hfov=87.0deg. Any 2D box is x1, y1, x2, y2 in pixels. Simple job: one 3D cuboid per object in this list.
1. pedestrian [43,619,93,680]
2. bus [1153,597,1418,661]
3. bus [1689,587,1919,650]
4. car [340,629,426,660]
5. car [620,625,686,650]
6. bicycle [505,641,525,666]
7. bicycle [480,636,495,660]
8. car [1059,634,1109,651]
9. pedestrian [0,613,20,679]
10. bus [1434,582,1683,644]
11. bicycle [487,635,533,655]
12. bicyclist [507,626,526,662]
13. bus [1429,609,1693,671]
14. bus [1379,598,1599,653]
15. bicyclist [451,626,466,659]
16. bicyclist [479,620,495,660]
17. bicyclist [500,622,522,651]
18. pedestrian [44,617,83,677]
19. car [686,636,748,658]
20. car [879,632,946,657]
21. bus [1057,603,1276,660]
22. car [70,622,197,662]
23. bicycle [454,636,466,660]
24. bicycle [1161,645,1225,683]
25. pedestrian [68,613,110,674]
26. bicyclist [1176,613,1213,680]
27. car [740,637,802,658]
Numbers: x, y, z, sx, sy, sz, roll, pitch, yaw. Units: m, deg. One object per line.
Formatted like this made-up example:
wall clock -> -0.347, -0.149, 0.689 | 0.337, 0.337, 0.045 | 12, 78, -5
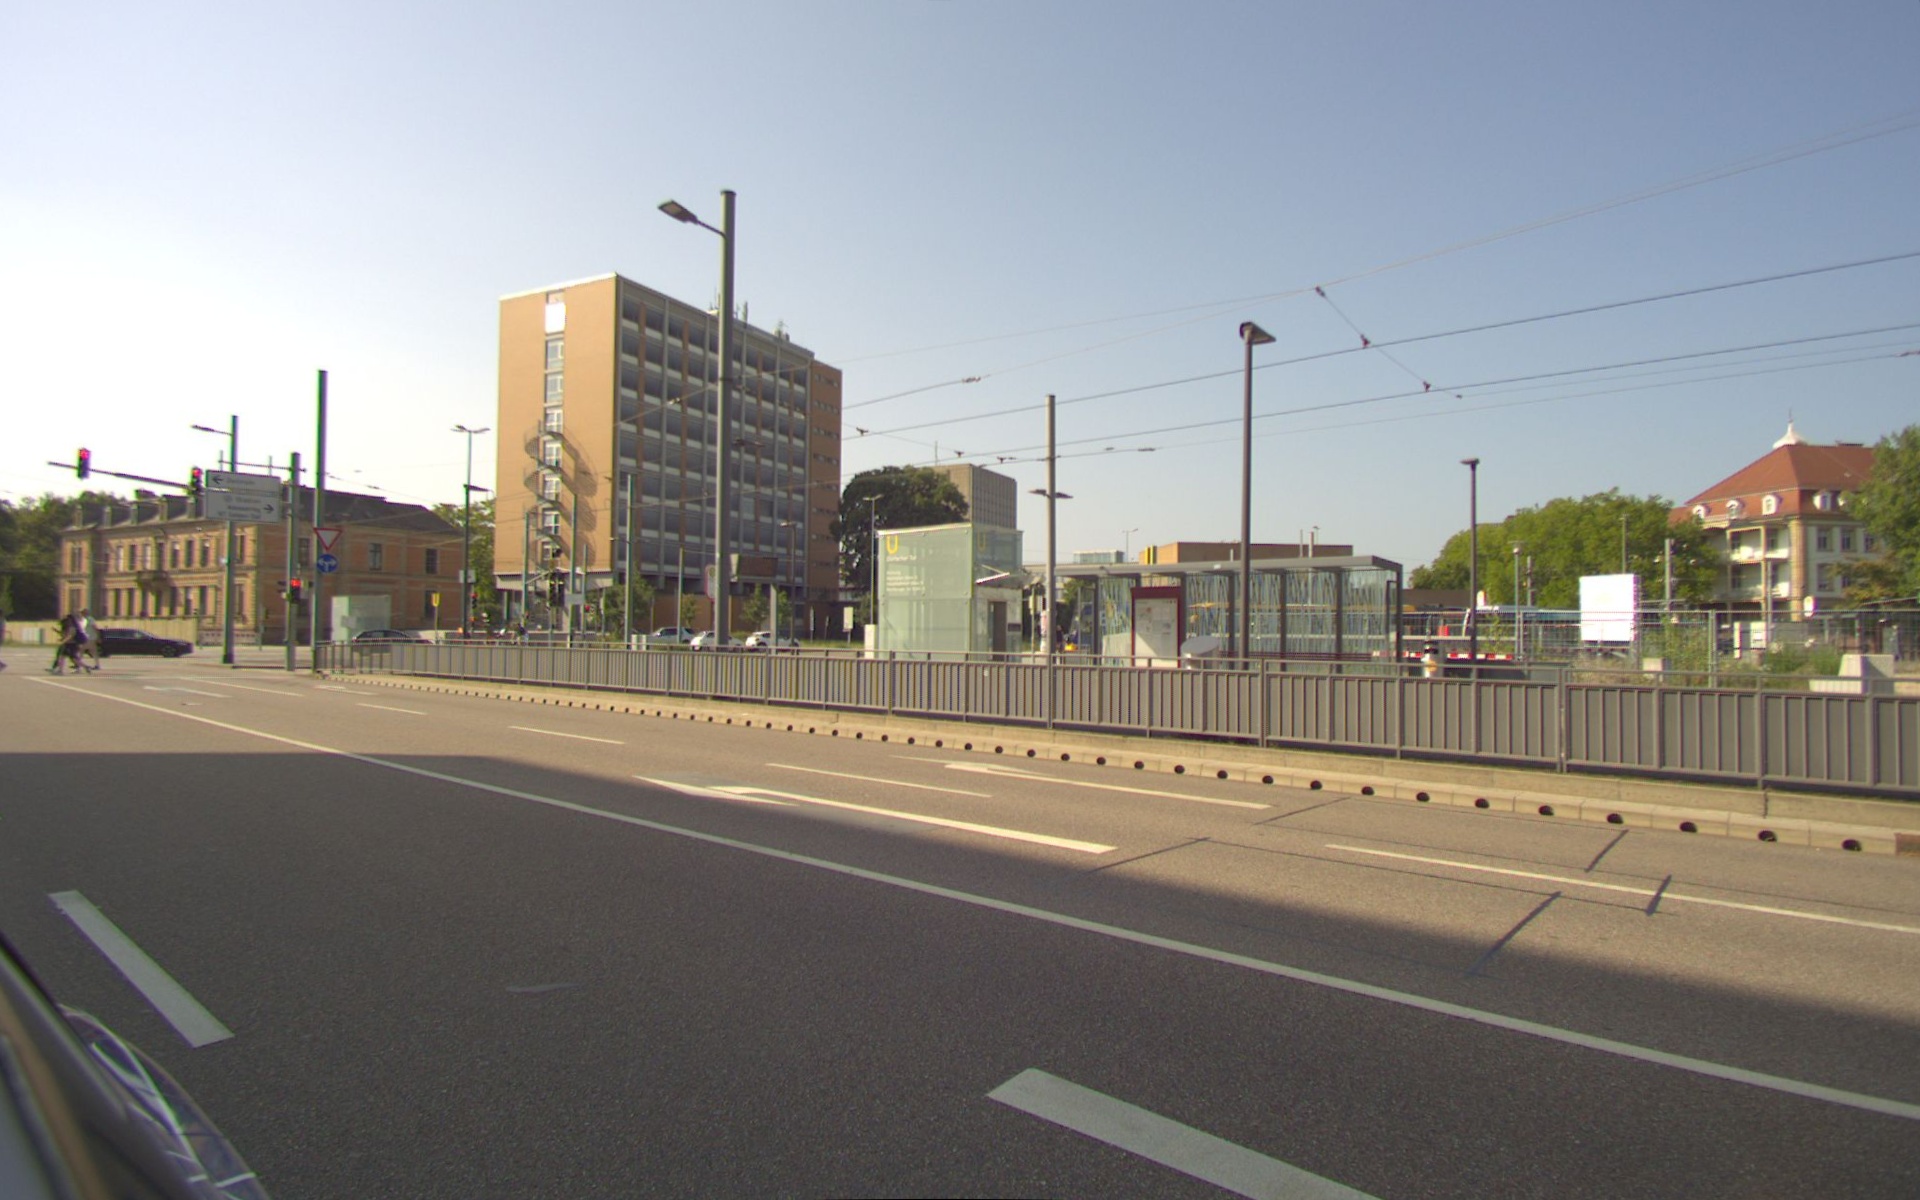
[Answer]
pedestrian -> -23.217, 1.290, 26.347 | 0.548, 1.559, 0.799 | -1, -5, 42
bus -> 17.044, 1.563, 53.349 | 13.106, 3.203, 3.230 | 1, -2, -7
bus -> 49.263, 1.106, 58.103 | 13.110, 3.445, 3.229 | 1, -2, -6
car -> -31.328, 2.434, 55.089 | 3.931, 1.608, 2.006 | 2, -2, -27
car -> -22.430, 2.773, 73.926 | 4.217, 1.720, 1.957 | 2, -5, -34
bicycle -> -20.363, 2.439, 46.295 | 0.396, 1.118, 1.749 | 2, -3, -39
bicycle -> -23.783, 2.393, 50.897 | 0.371, 1.174, 1.864 | 1, -3, -34
car -> 11.135, 3.831, 90.820 | 4.276, 1.463, 1.808 | 2, -3, -31
pedestrian -> -25.114, 1.188, 26.311 | 0.651, 1.706, 0.805 | -1, -5, 41
bus -> 34.908, 0.832, 59.263 | 13.110, 3.445, 3.229 | 1, -2, -6
bicycle -> -23.519, 2.365, 52.940 | 2.159, 0.997, 0.531 | 2, -2, -25
bicyclist -> -20.326, 2.012, 46.365 | 0.579, 1.669, 0.792 | 2, -3, -40
bus -> 32.600, 2.182, 55.092 | 13.105, 3.203, 3.230 | 1, -2, -8
bus -> 34.674, 1.736, 66.503 | 13.110, 3.445, 3.229 | 1, -2, -6
bicyclist -> -24.778, 2.107, 50.018 | 0.503, 1.643, 0.809 | 1, -3, -35
bicyclist -> -23.806, 2.015, 50.951 | 0.571, 1.989, 0.809 | 1, -3, -35
bicyclist -> -23.520, 1.912, 53.005 | 0.955, 1.486, 1.091 | 2, -3, -25
pedestrian -> -24.509, 1.296, 27.667 | 0.467, 1.610, 0.626 | -1, -5, 39
car -> -15.790, 3.034, 65.693 | 3.553, 1.426, 1.809 | 2, -3, -29
car -> -3.533, 3.338, 75.796 | 4.690, 1.842, 1.809 | 1, -3, -27
bus -> 12.904, 2.013, 63.742 | 13.110, 3.445, 3.229 | 1, -2, -6
car -> -40.585, 2.077, 49.845 | 4.496, 1.866, 2.006 | 2, -3, -28
bicycle -> -24.766, 2.357, 50.084 | 0.306, 1.174, 1.503 | 1, -3, -34
bicycle -> 6.177, 1.697, 26.860 | 1.694, 0.961, 0.346 | -1, -3, 41
pedestrian -> -26.233, 1.312, 30.471 | 0.822, 1.802, 0.730 | 6, -5, -42
bicyclist -> 6.205, 1.225, 26.751 | 0.819, 1.760, 0.481 | -2, -3, 41
car -> -13.287, 3.361, 71.214 | 3.931, 1.426, 1.809 | 2, -3, -29
